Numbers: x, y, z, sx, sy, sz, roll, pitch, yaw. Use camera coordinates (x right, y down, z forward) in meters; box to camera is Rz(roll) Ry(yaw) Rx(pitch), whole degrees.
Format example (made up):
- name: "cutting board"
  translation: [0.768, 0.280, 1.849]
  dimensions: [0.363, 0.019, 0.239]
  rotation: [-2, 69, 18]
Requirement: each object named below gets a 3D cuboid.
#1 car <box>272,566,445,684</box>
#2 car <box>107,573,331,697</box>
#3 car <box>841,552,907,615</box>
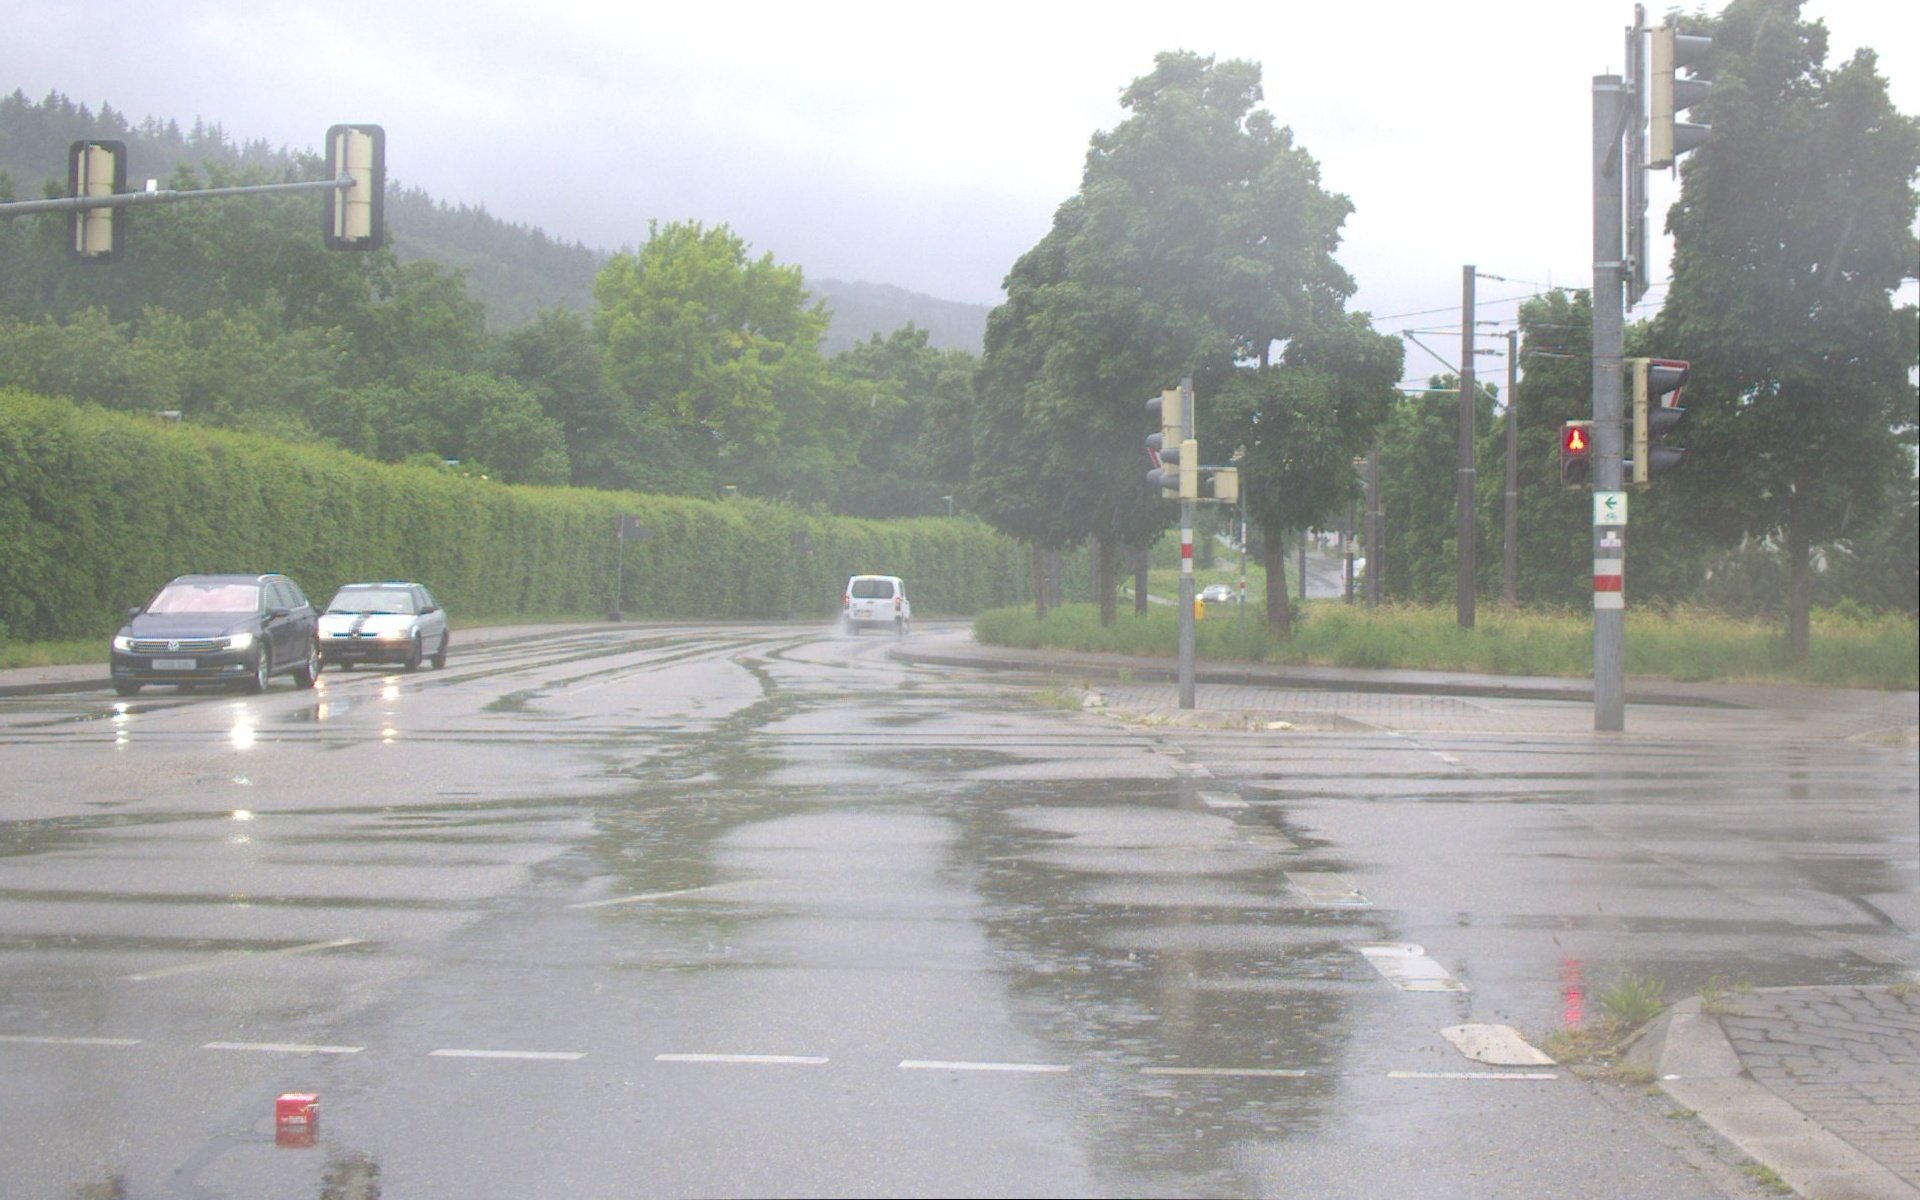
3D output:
- name: "car"
  translation: [-9.357, 0.359, 53.784]
  dimensions: [2.036, 1.702, 4.066]
  rotation: [1, 1, -1]
- name: "car"
  translation: [-9.289, 0.406, 43.446]
  dimensions: [1.709, 1.461, 4.452]
  rotation: [0, 1, 2]
- name: "car"
  translation: [-2.641, -0.529, 105.155]
  dimensions: [1.953, 1.897, 4.120]
  rotation: [0, 1, -2]
